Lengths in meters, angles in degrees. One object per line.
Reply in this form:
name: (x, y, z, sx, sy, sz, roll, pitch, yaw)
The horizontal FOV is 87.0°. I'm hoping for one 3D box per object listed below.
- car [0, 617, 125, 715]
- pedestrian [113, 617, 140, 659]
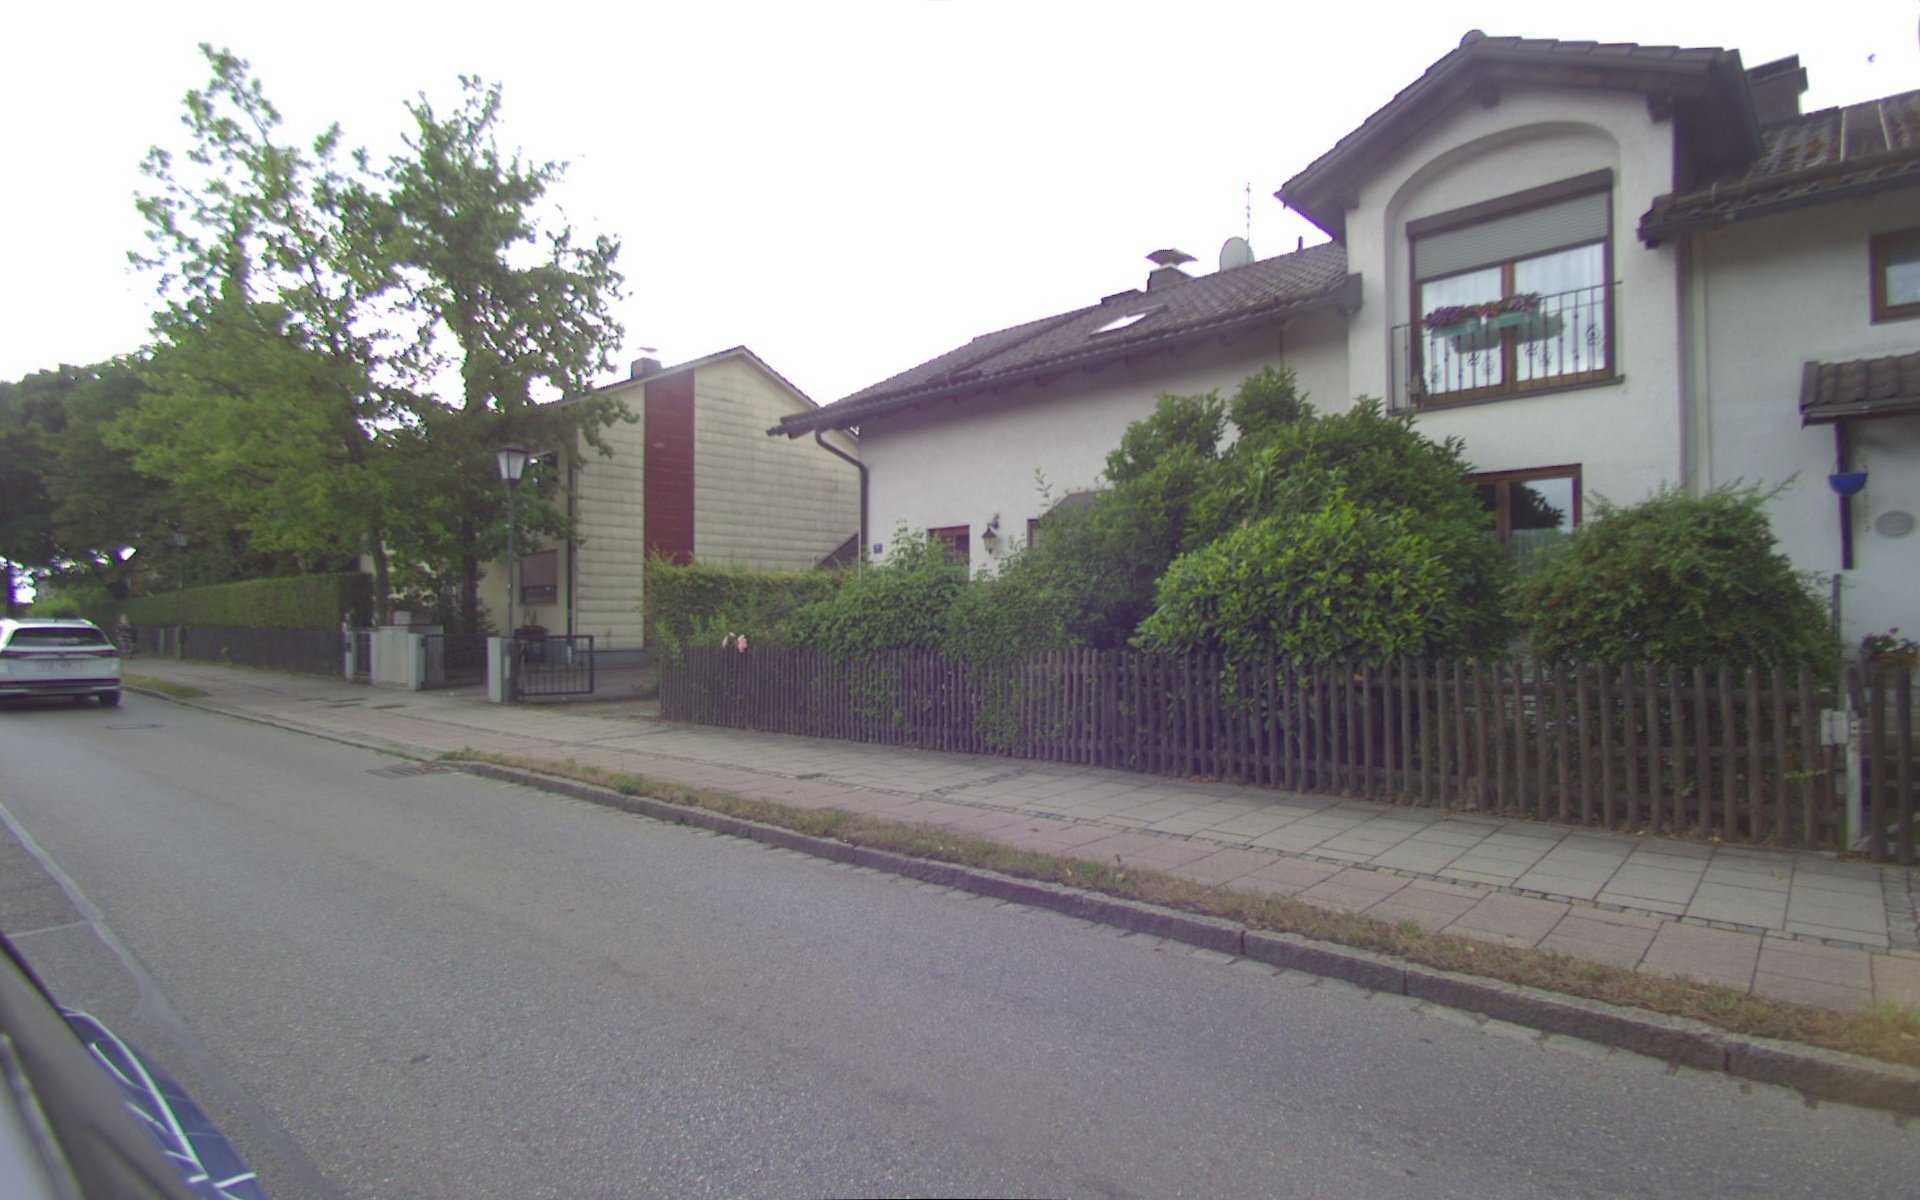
car: (-16.014, 1.066, 17.518, 4.374, 1.495, 1.733, -1, -1, 41)
pedestrian: (-29.116, 1.317, 35.355, 0.563, 1.448, 0.623, -1, -2, 41)
